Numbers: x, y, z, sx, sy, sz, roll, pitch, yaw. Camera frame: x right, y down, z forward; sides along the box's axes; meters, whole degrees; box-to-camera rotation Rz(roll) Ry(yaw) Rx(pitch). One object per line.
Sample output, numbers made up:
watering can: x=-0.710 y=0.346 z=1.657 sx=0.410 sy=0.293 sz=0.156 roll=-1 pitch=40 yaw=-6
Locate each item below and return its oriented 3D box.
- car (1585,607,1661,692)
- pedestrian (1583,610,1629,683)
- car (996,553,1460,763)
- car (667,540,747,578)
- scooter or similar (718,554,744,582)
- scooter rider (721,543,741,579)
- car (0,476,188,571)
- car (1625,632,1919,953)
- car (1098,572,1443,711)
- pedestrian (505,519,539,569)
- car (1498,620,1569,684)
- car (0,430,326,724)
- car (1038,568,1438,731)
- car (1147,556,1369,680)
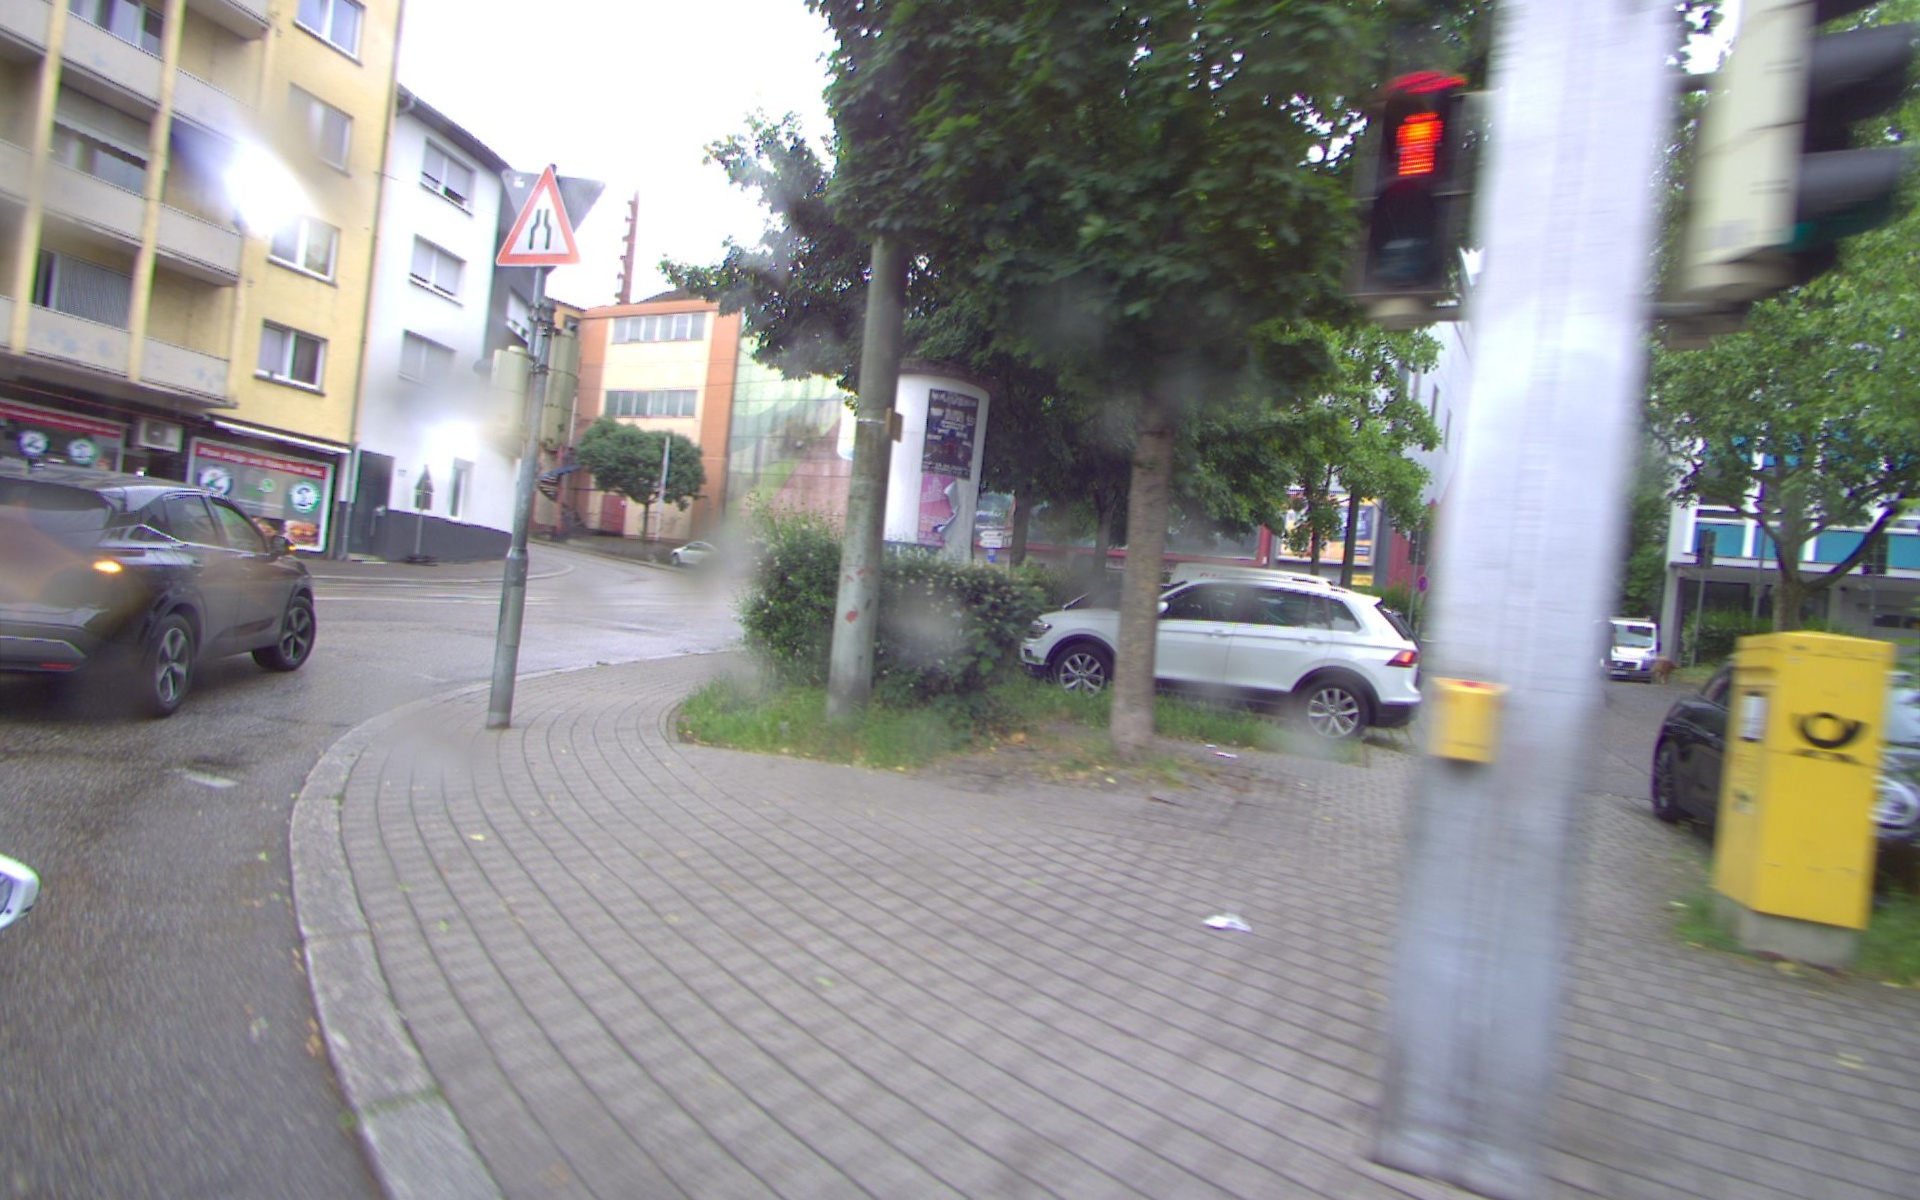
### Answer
car: x=22.471 y=1.741 z=34.175 sx=1.853 sy=2.329 sz=4.720 roll=5 pitch=-4 yaw=33
pedestrian: x=15.650 y=1.134 z=24.386 sx=0.717 sy=1.624 sz=0.717 roll=8 pitch=-2 yaw=30
car: x=2.901 y=0.528 z=11.385 sx=4.547 sy=1.695 sz=1.807 roll=6 pitch=3 yaw=17
car: x=-14.519 y=-2.352 z=57.590 sx=4.641 sy=1.733 sz=1.917 roll=6 pitch=2 yaw=39
scooter or similar: x=-12.018 y=-1.681 z=52.797 sx=0.572 sy=1.311 sz=1.468 roll=4 pitch=2 yaw=-42
scooter rider: x=-12.008 y=-2.050 z=52.785 sx=0.665 sy=1.830 sz=0.676 roll=3 pitch=3 yaw=-42
car: x=-18.061 y=-1.553 z=20.422 sx=1.445 sy=1.577 sz=3.480 roll=7 pitch=1 yaw=21
car: x=6.064 y=1.056 z=6.665 sx=1.776 sy=1.451 sz=4.196 roll=4 pitch=1 yaw=21
car: x=4.785 y=0.577 z=15.936 sx=4.817 sy=1.572 sz=1.808 roll=6 pitch=2 yaw=17
pedestrian: x=-19.197 y=-2.462 z=44.130 sx=0.988 sy=2.039 sz=1.241 roll=5 pitch=1 yaw=-35
car: x=20.588 y=1.919 z=36.040 sx=1.853 sy=1.750 sz=4.720 roll=5 pitch=-4 yaw=33
car: x=-6.489 y=-0.254 z=7.604 sx=1.937 sy=1.674 sz=3.981 roll=5 pitch=1 yaw=-20
car: x=3.685 y=0.583 z=13.770 sx=4.817 sy=1.572 sz=1.808 roll=6 pitch=2 yaw=17
car: x=6.121 y=0.336 z=20.687 sx=3.930 sy=2.040 sz=1.996 roll=6 pitch=2 yaw=27
